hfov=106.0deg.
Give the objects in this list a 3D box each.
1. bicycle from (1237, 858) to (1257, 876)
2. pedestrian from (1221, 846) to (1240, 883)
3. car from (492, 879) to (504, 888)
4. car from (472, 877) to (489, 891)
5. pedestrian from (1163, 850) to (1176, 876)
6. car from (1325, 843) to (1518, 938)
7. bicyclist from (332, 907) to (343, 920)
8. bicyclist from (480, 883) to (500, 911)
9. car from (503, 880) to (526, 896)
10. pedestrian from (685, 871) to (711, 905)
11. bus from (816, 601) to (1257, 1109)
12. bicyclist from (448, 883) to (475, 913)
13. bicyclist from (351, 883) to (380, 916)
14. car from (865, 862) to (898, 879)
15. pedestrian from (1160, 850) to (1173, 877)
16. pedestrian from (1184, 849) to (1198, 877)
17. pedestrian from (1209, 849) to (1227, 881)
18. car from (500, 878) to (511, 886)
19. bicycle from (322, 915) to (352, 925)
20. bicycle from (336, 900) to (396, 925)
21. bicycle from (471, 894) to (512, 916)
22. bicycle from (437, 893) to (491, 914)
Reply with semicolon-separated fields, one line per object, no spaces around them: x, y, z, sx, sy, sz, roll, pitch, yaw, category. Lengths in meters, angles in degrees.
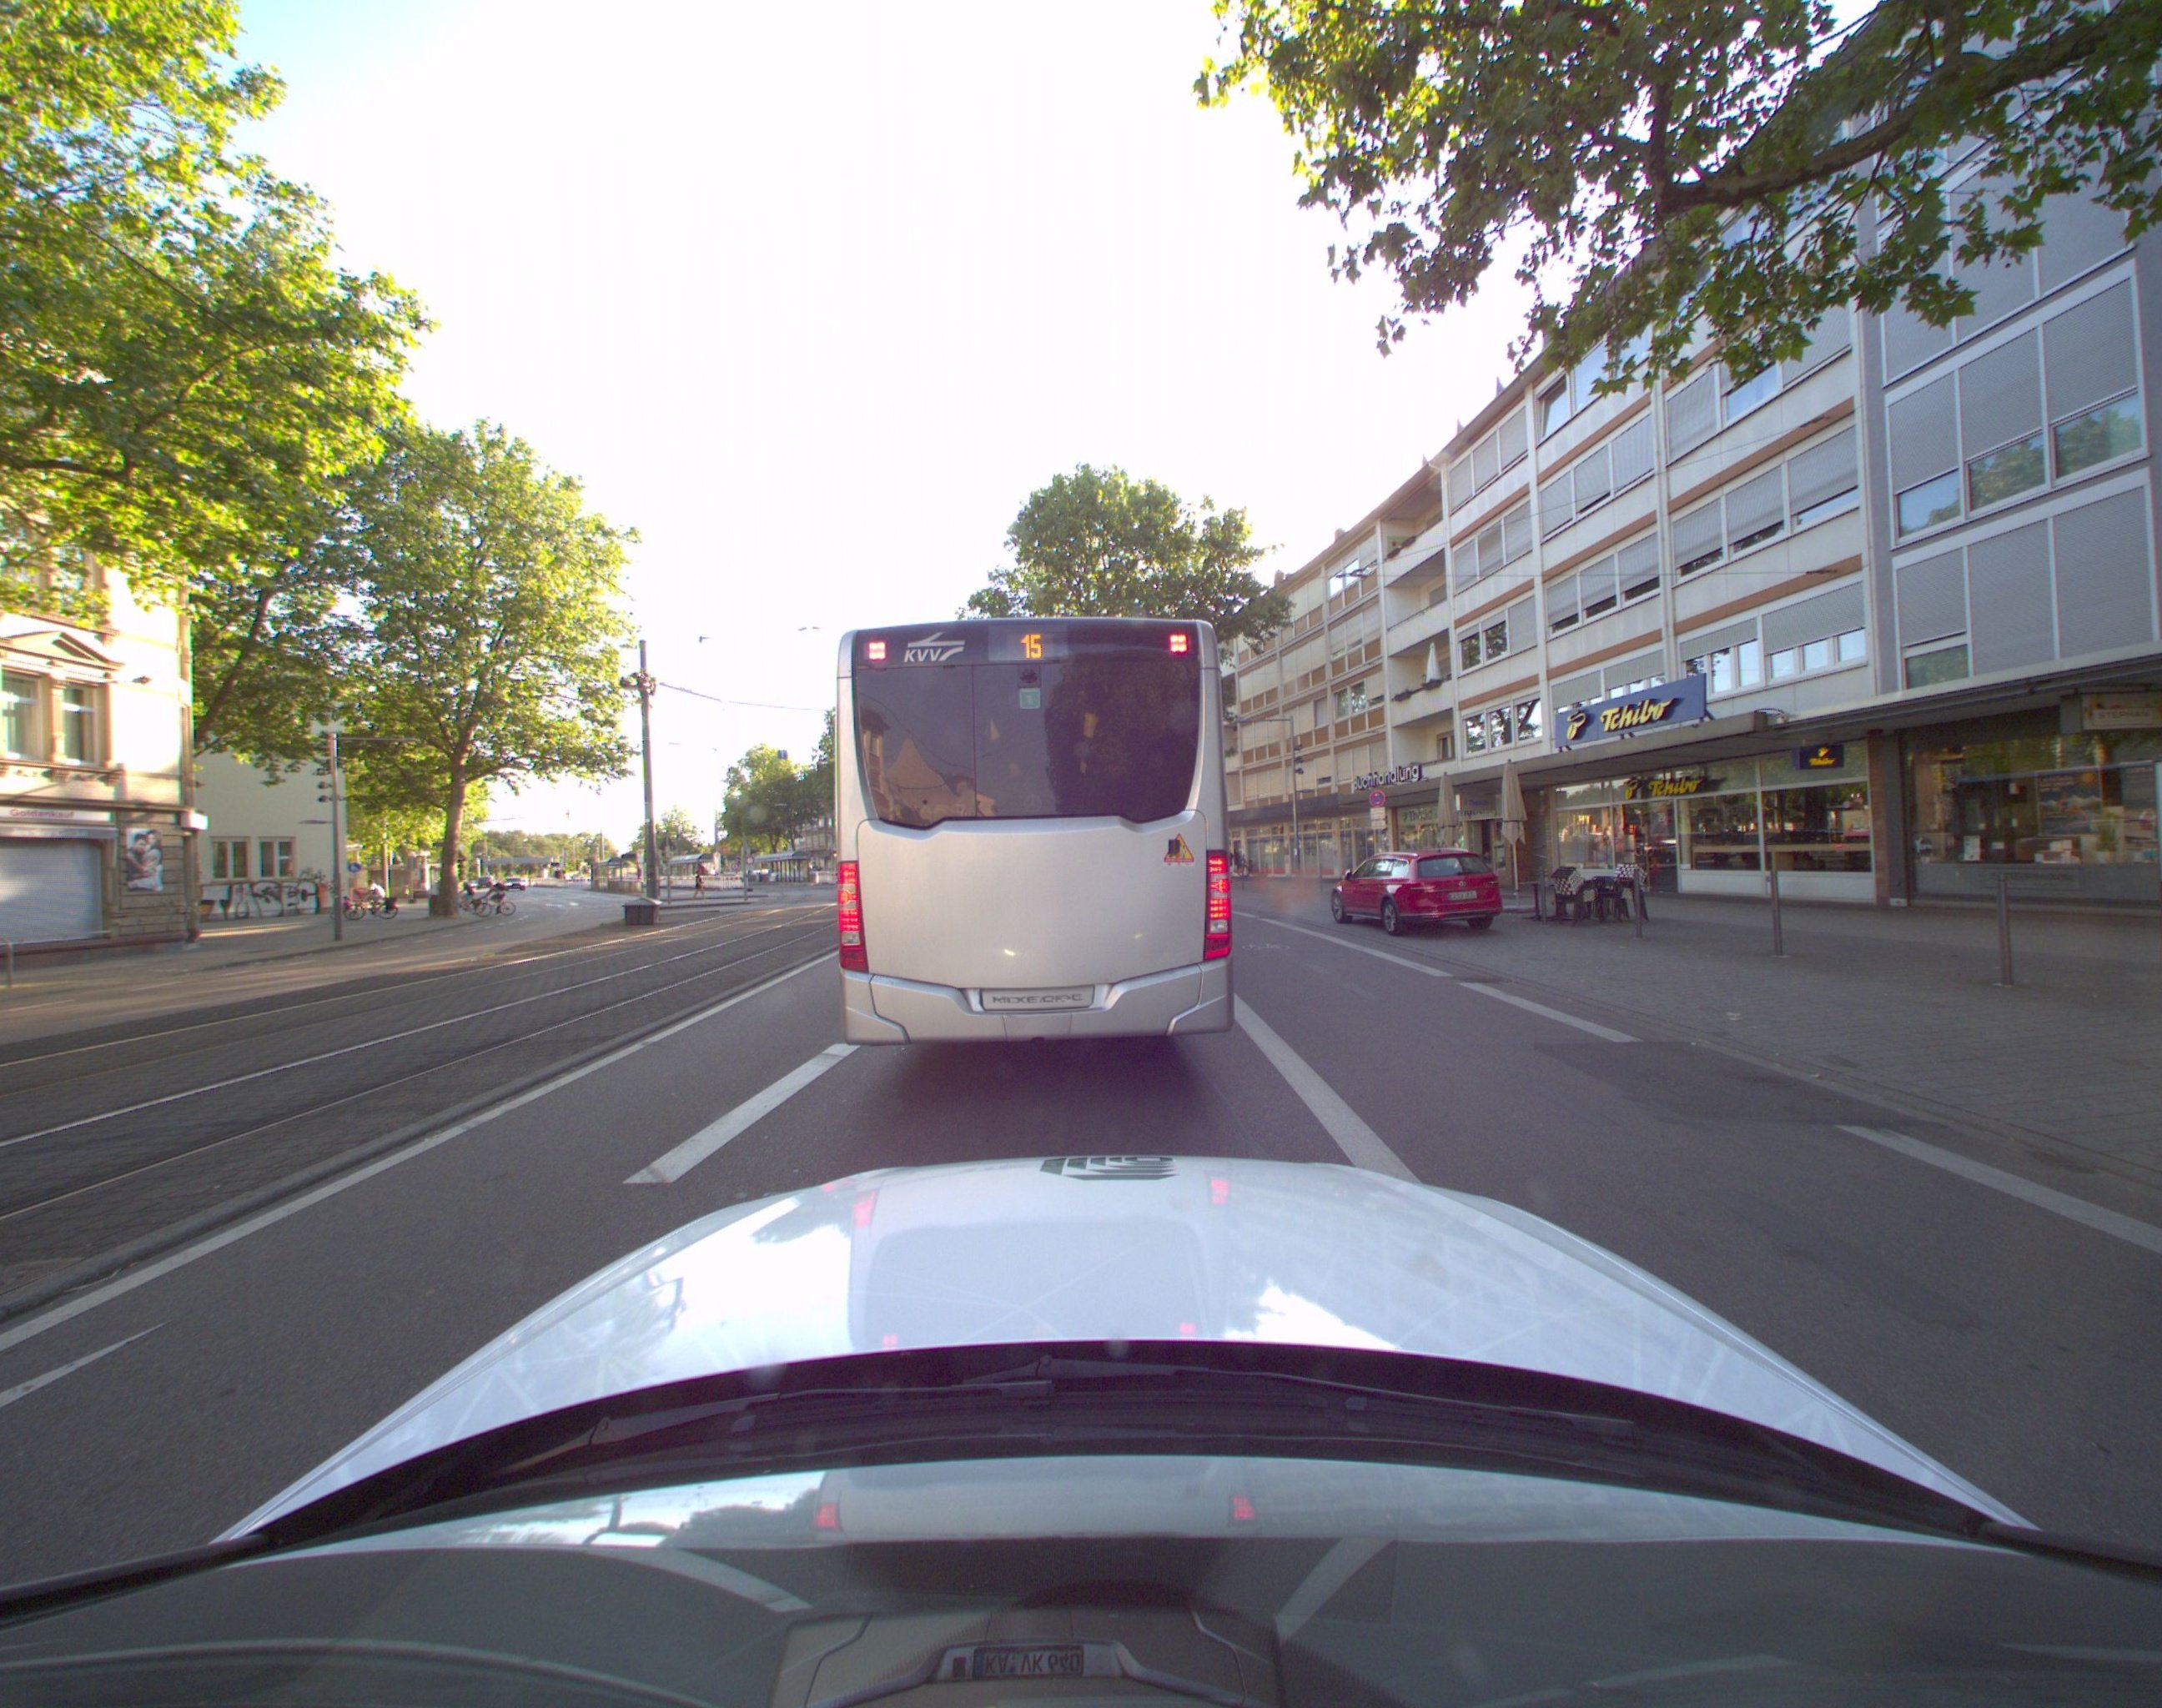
9.283;0.741;45.609;0.413;0.945;1.431;-2;-1;-18;bicycle
7.082;0.483;38.594;0.646;1.717;0.557;-2;-1;-14;pedestrian
-117.845;6.018;164.671;1.858;1.684;3.676;-2;-1;-35;car
-86.903;4.330;117.920;1.807;1.796;3.957;-2;-1;-34;car
5.591;0.567;51.419;0.536;1.648;0.612;-2;-1;-15;pedestrian
6.374;0.630;15.824;1.765;1.482;4.300;-3;0;-2;car
-34.395;2.757;37.666;0.310;0.590;0.277;-2;-1;-30;bicyclist
-28.416;2.071;39.142;0.641;1.293;0.454;-2;-1;-20;bicyclist
-64.642;3.840;93.008;2.008;1.640;3.958;-2;-1;-33;car
-19.021;1.686;40.480;0.994;1.686;0.642;-1;-2;-10;pedestrian
-0.124;0.033;9.924;2.621;3.028;10.000;-1;0;2;bus
-31.781;2.253;41.794;0.842;1.444;0.751;-2;-1;-20;bicyclist
-32.322;2.041;36.789;0.845;1.444;0.621;-2;-1;-32;bicyclist
-21.784;1.798;88.970;2.010;1.792;3.954;0;-1;-39;car
5.368;0.611;51.285;0.536;1.648;0.612;-2;-1;-15;pedestrian
6.640;0.563;49.172;0.536;1.648;0.612;-2;-1;-15;pedestrian
6.870;0.566;40.899;0.646;1.581;0.557;-2;-1;-14;pedestrian
-130.111;6.396;184.189;1.858;1.684;3.676;-2;-1;-35;car
-34.403;3.043;37.652;0.963;0.399;0.287;-2;-1;-30;bicycle
-32.284;2.637;36.791;1.921;1.005;0.614;-2;-1;-32;bicycle
-28.349;2.443;39.157;1.510;0.985;0.448;-2;-1;-20;bicycle
-31.675;2.528;41.820;2.025;0.937;0.755;-2;-1;-20;bicycle
